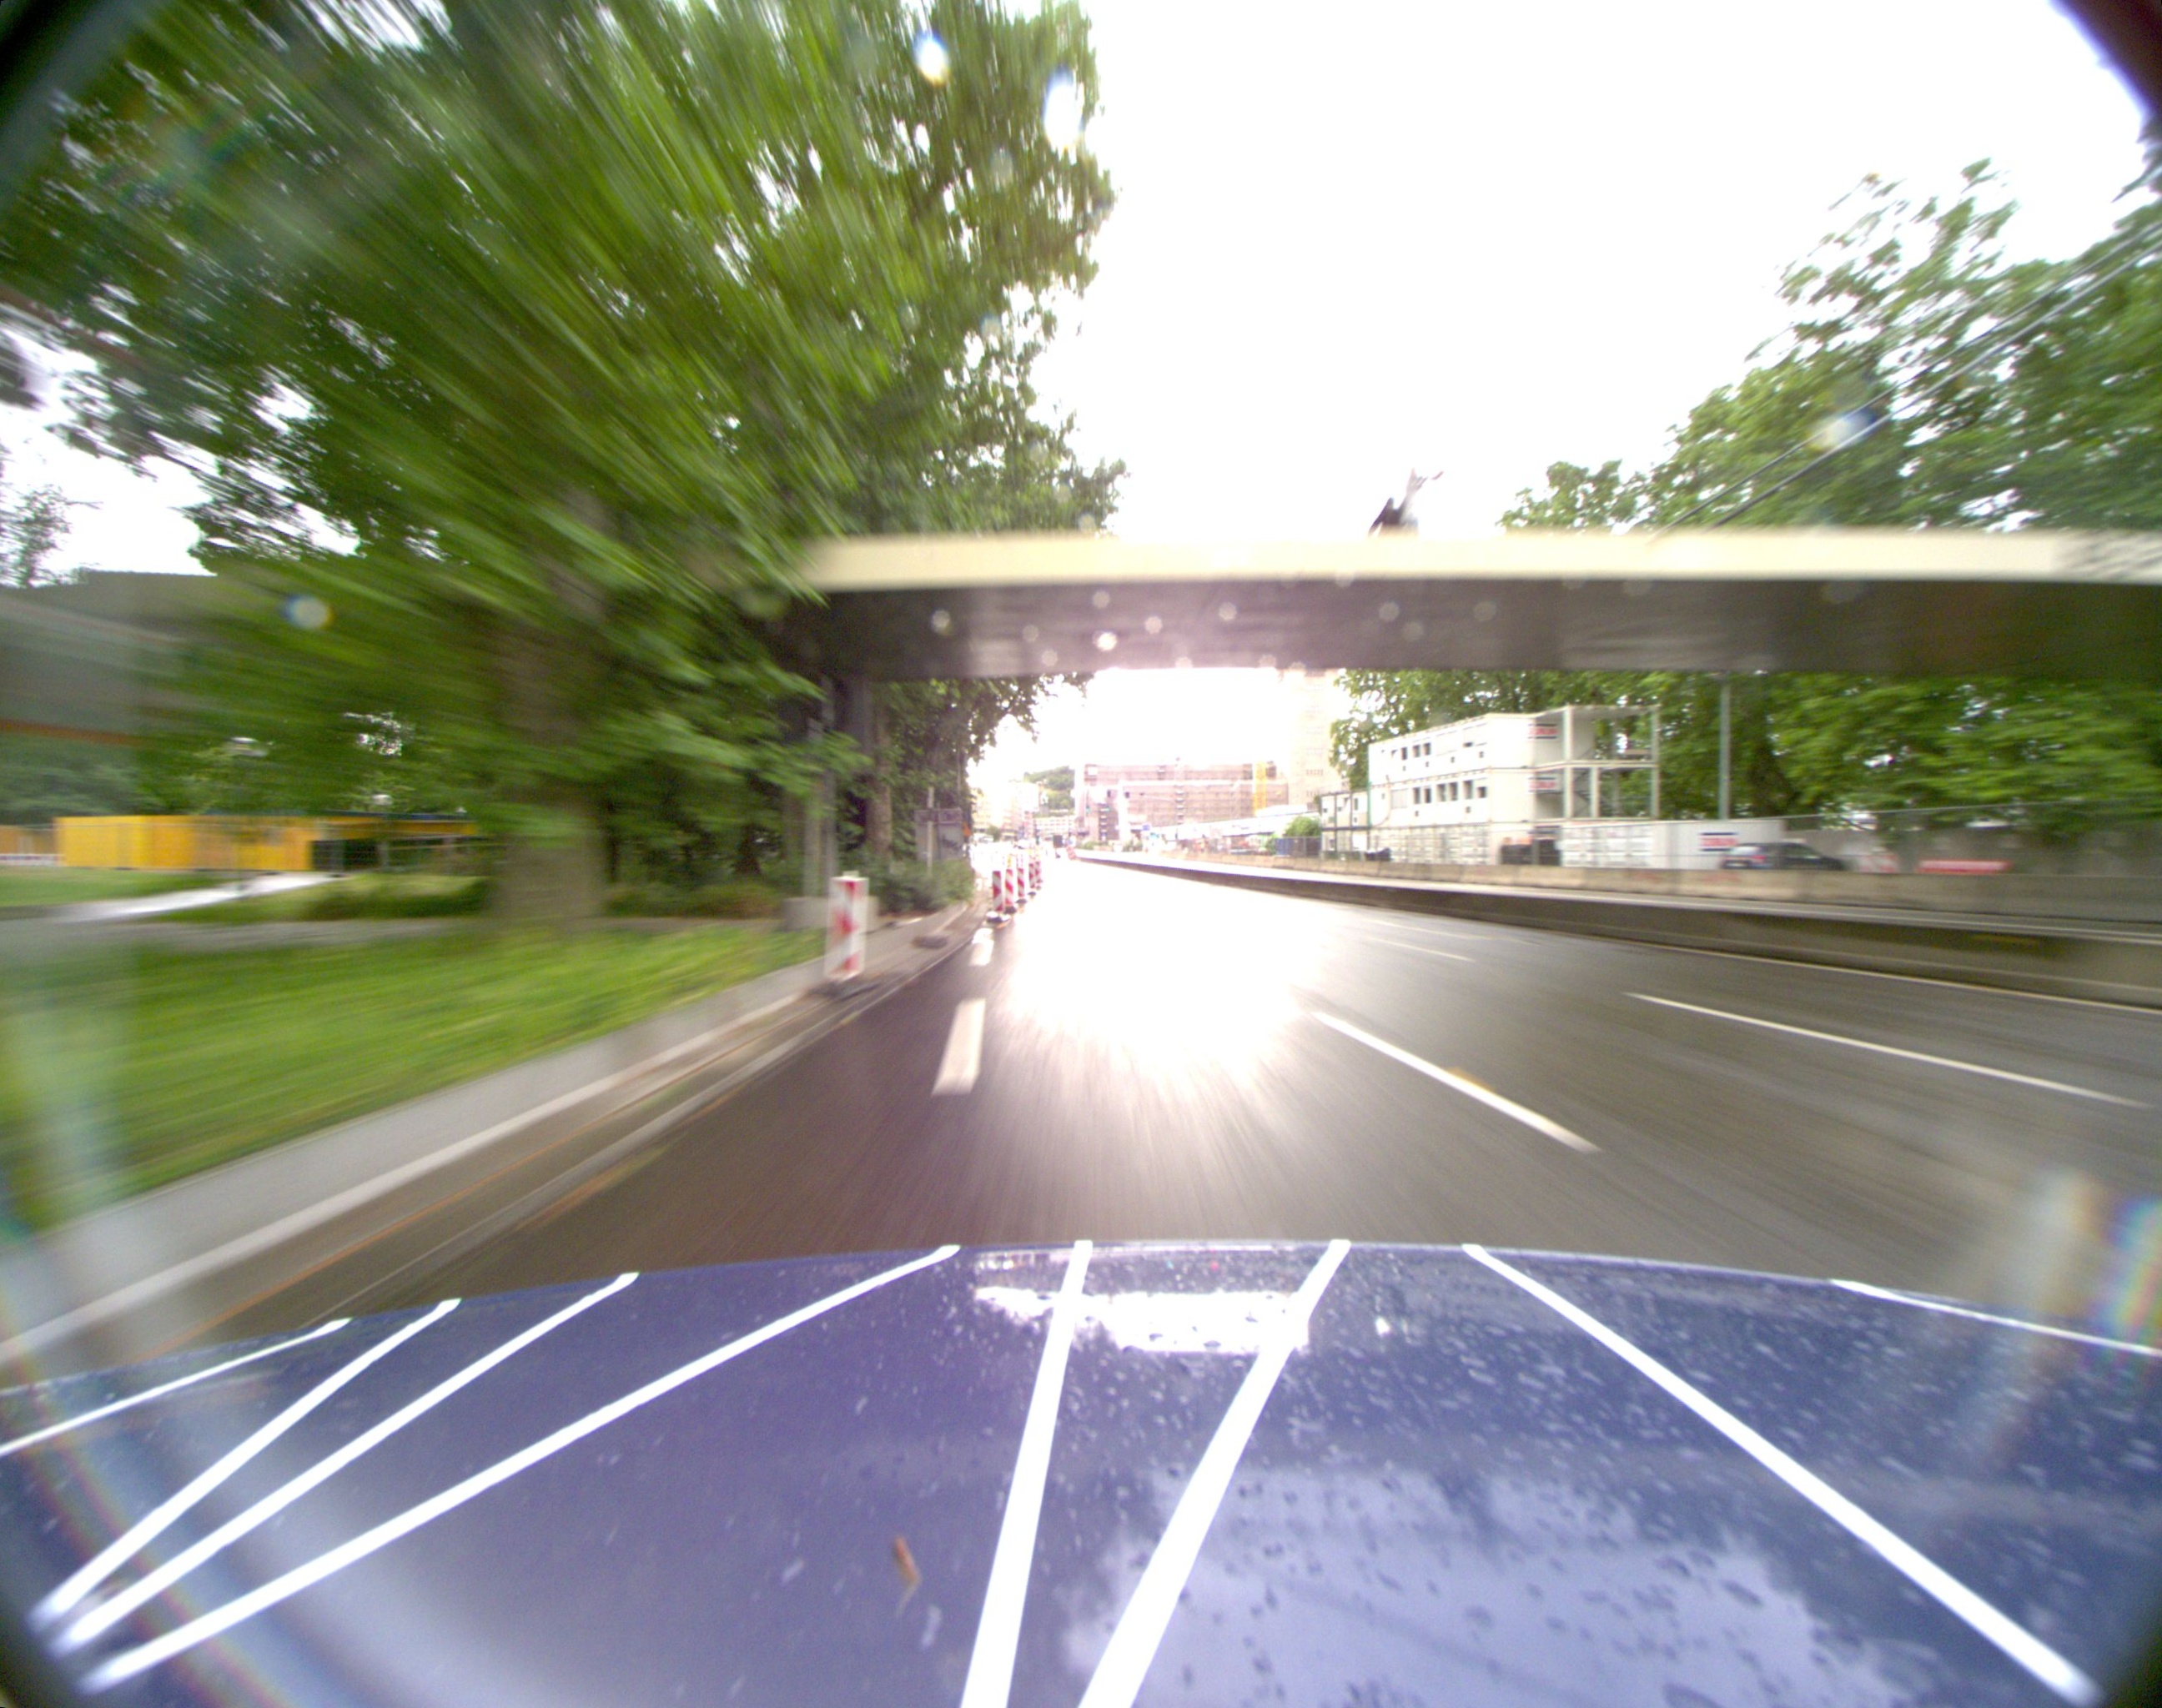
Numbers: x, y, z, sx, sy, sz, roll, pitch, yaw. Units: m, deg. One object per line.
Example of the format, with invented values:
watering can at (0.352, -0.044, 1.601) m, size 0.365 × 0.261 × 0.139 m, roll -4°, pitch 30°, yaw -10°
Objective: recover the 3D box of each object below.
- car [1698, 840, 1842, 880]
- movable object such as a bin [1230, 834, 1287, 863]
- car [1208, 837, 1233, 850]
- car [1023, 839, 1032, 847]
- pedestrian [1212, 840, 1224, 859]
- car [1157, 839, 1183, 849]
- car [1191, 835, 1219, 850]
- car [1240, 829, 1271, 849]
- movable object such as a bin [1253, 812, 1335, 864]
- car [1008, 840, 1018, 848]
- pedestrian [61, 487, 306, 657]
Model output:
car at (26.502, 0.208, 29.306) m, size 4.000 × 1.435 × 1.998 m, roll 0°, pitch 2°, yaw -8°
movable object such as a bin at (19.511, -0.668, 83.999) m, size 3.945 × 3.111 × 6.381 m, roll 0°, pitch 1°, yaw -9°
car at (19.151, -1.427, 104.408) m, size 1.851 × 1.751 × 4.792 m, roll 0°, pitch 1°, yaw -9°
car at (-12.255, -2.561, 174.479) m, size 1.833 × 1.643 × 4.569 m, roll 0°, pitch 1°, yaw -8°
pedestrian at (14.939, -0.526, 82.784) m, size 1.182 × 2.002 × 1.173 m, roll -1°, pitch 2°, yaw 3°
car at (17.757, -1.939, 151.144) m, size 5.011 × 2.002 × 2.004 m, roll 1°, pitch 1°, yaw 45°
car at (17.997, -1.741, 110.215) m, size 2.001 × 2.089 × 5.574 m, roll 1°, pitch 1°, yaw -12°
car at (26.221, -2.273, 114.329) m, size 2.281 × 3.049 × 6.161 m, roll 0°, pitch 2°, yaw -10°
movable object such as a bin at (20.828, -1.576, 75.050) m, size 4.765 × 4.776 × 8.350 m, roll 0°, pitch 2°, yaw -9°
car at (-15.607, -2.383, 174.588) m, size 2.000 × 1.804 × 4.289 m, roll 0°, pitch 1°, yaw -8°
pedestrian at (-12.666, -3.942, 10.815) m, size 1.991 × 2.002 × 1.111 m, roll -1°, pitch 2°, yaw -4°
